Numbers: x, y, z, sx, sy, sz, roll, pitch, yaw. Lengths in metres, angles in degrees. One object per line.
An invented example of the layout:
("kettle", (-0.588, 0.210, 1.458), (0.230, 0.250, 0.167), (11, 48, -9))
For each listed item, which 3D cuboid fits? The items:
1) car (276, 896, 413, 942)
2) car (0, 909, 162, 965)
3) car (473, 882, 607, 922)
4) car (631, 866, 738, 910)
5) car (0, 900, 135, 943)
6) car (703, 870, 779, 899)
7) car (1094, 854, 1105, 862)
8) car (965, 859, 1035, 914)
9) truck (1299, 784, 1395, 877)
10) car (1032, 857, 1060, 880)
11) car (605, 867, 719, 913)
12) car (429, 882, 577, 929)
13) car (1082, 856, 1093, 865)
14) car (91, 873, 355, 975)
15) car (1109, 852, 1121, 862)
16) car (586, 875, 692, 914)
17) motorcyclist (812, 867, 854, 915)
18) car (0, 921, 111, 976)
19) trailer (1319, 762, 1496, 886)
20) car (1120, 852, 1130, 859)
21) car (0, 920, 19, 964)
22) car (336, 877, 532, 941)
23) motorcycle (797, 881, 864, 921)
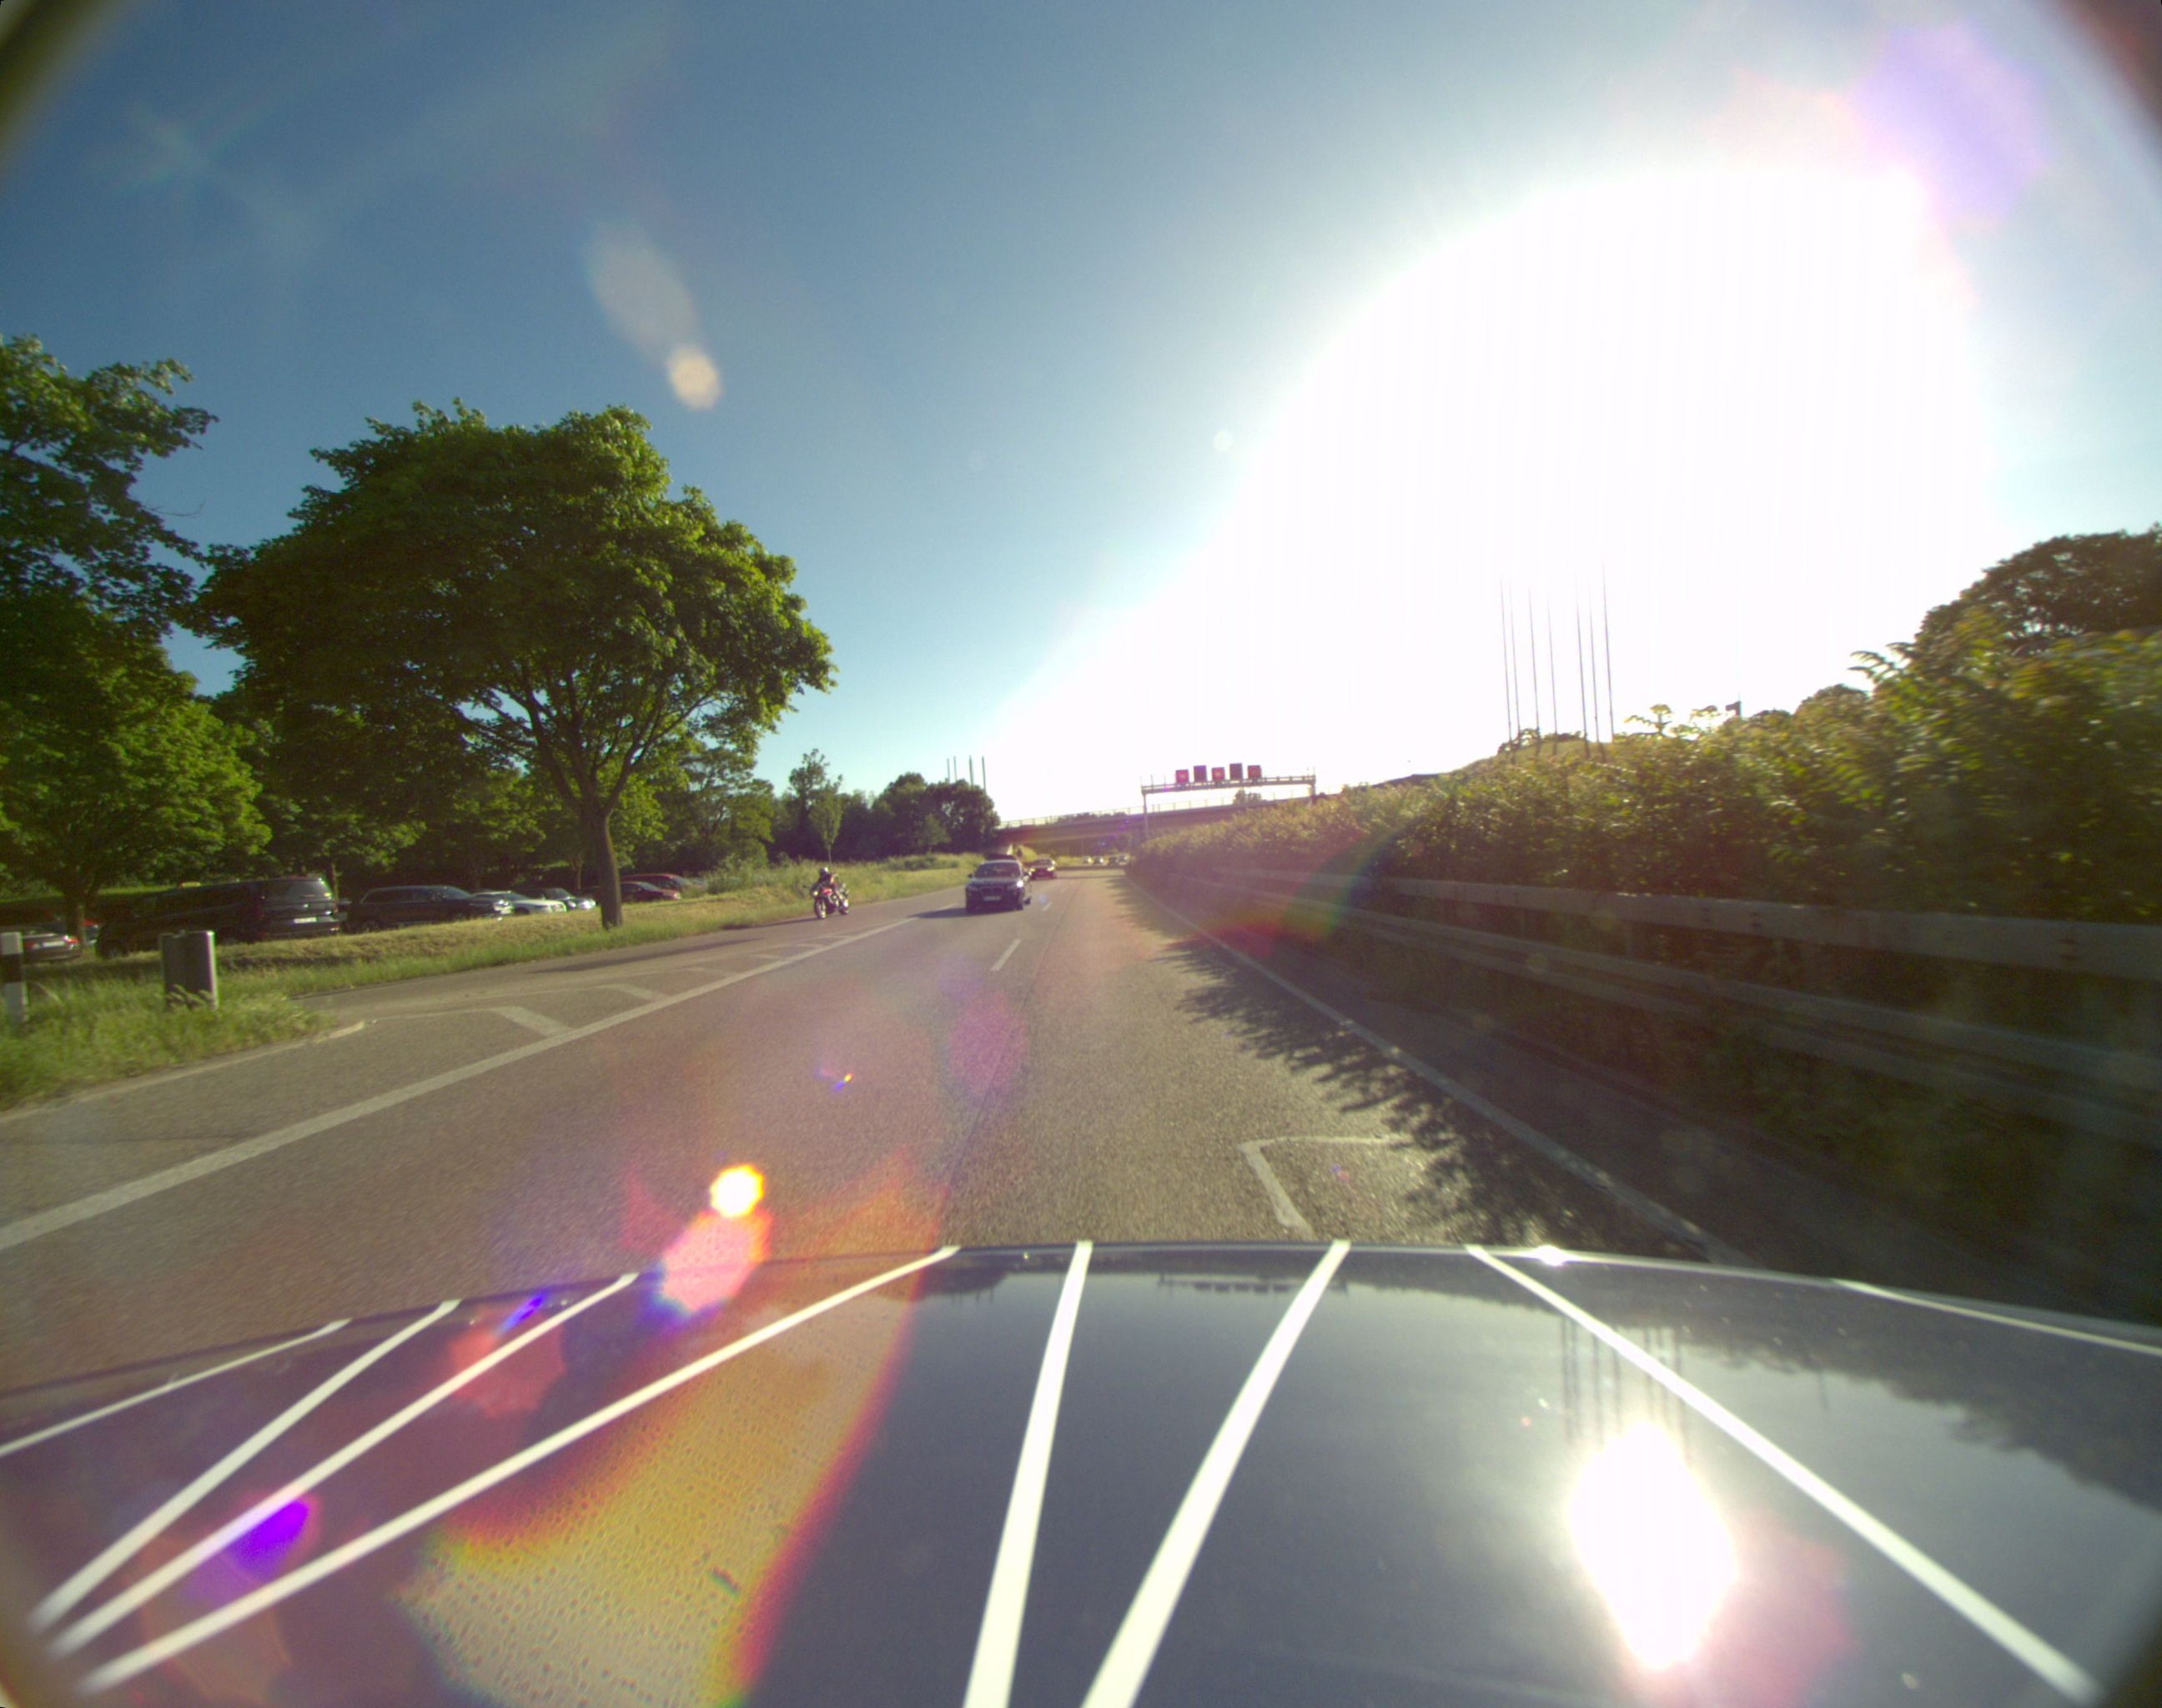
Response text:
("car", (-33.349, 2.908, 34.491), (4.295, 1.502, 1.739), (-5, 2, -1))
("car", (-40.701, 3.346, 30.828), (4.652, 1.653, 2.040), (-5, 2, 7))
("car", (-23.055, 2.026, 32.482), (4.222, 1.210, 1.961), (-5, 1, 1))
("car", (-22.469, 1.900, 43.214), (4.802, 2.012, 2.025), (-3, 3, -2))
("car", (-51.393, 3.397, 38.243), (4.598, 1.766, 1.945), (-2, 2, -6))
("car", (-21.821, 1.942, 48.930), (3.942, 1.452, 1.923), (-3, 3, -2))
("car", (3.361, 0.736, 136.976), (1.682, 1.412, 3.670), (-3, 0, 3))
("car", (-2.529, 0.981, 24.770), (1.703, 1.497, 4.578), (-2, 1, 1))
("truck", (12.894, -1.061, 37.344), (2.655, 4.099, 5.562), (-3, 0, 1))
("car", (-2.583, 1.053, 57.207), (1.759, 1.564, 4.520), (-2, 1, 1))
("car", (-22.480, 1.899, 40.910), (4.802, 2.012, 2.025), (-3, 3, -2))
("car", (-22.734, 2.006, 30.028), (4.222, 1.303, 1.960), (-5, 1, 0))
("car", (1.292, 1.225, 151.997), (1.867, 1.681, 4.001), (-2, 0, 3))
("car", (-22.914, 1.830, 20.402), (5.043, 2.124, 2.094), (-5, 1, 8))
("car", (5.477, 0.500, 123.612), (1.725, 1.412, 3.670), (-3, 0, 5))
("car", (-22.147, 2.009, 38.170), (4.017, 1.492, 1.960), (-5, 1, 0))
("motorcyclist", (-7.989, 1.178, 24.474), (0.818, 1.439, 1.094), (-2, 1, 8))
("car", (-33.880, 2.995, 23.957), (4.133, 1.401, 1.983), (-2, 1, 3))
("trailer", (12.797, -1.008, 31.242), (2.655, 4.099, 10.699), (-3, 0, 1))
("car", (8.941, 0.295, 154.552), (1.682, 1.412, 3.671), (-3, 0, 6))
("car", (-41.002, 3.391, 26.608), (4.866, 1.548, 2.039), (-5, 1, 3))
("car", (-23.010, 1.914, 27.213), (4.868, 1.669, 2.223), (-5, 1, -3))
("motorcycle", (-7.980, 1.466, 24.397), (0.818, 1.063, 2.837), (-2, 1, 8))
